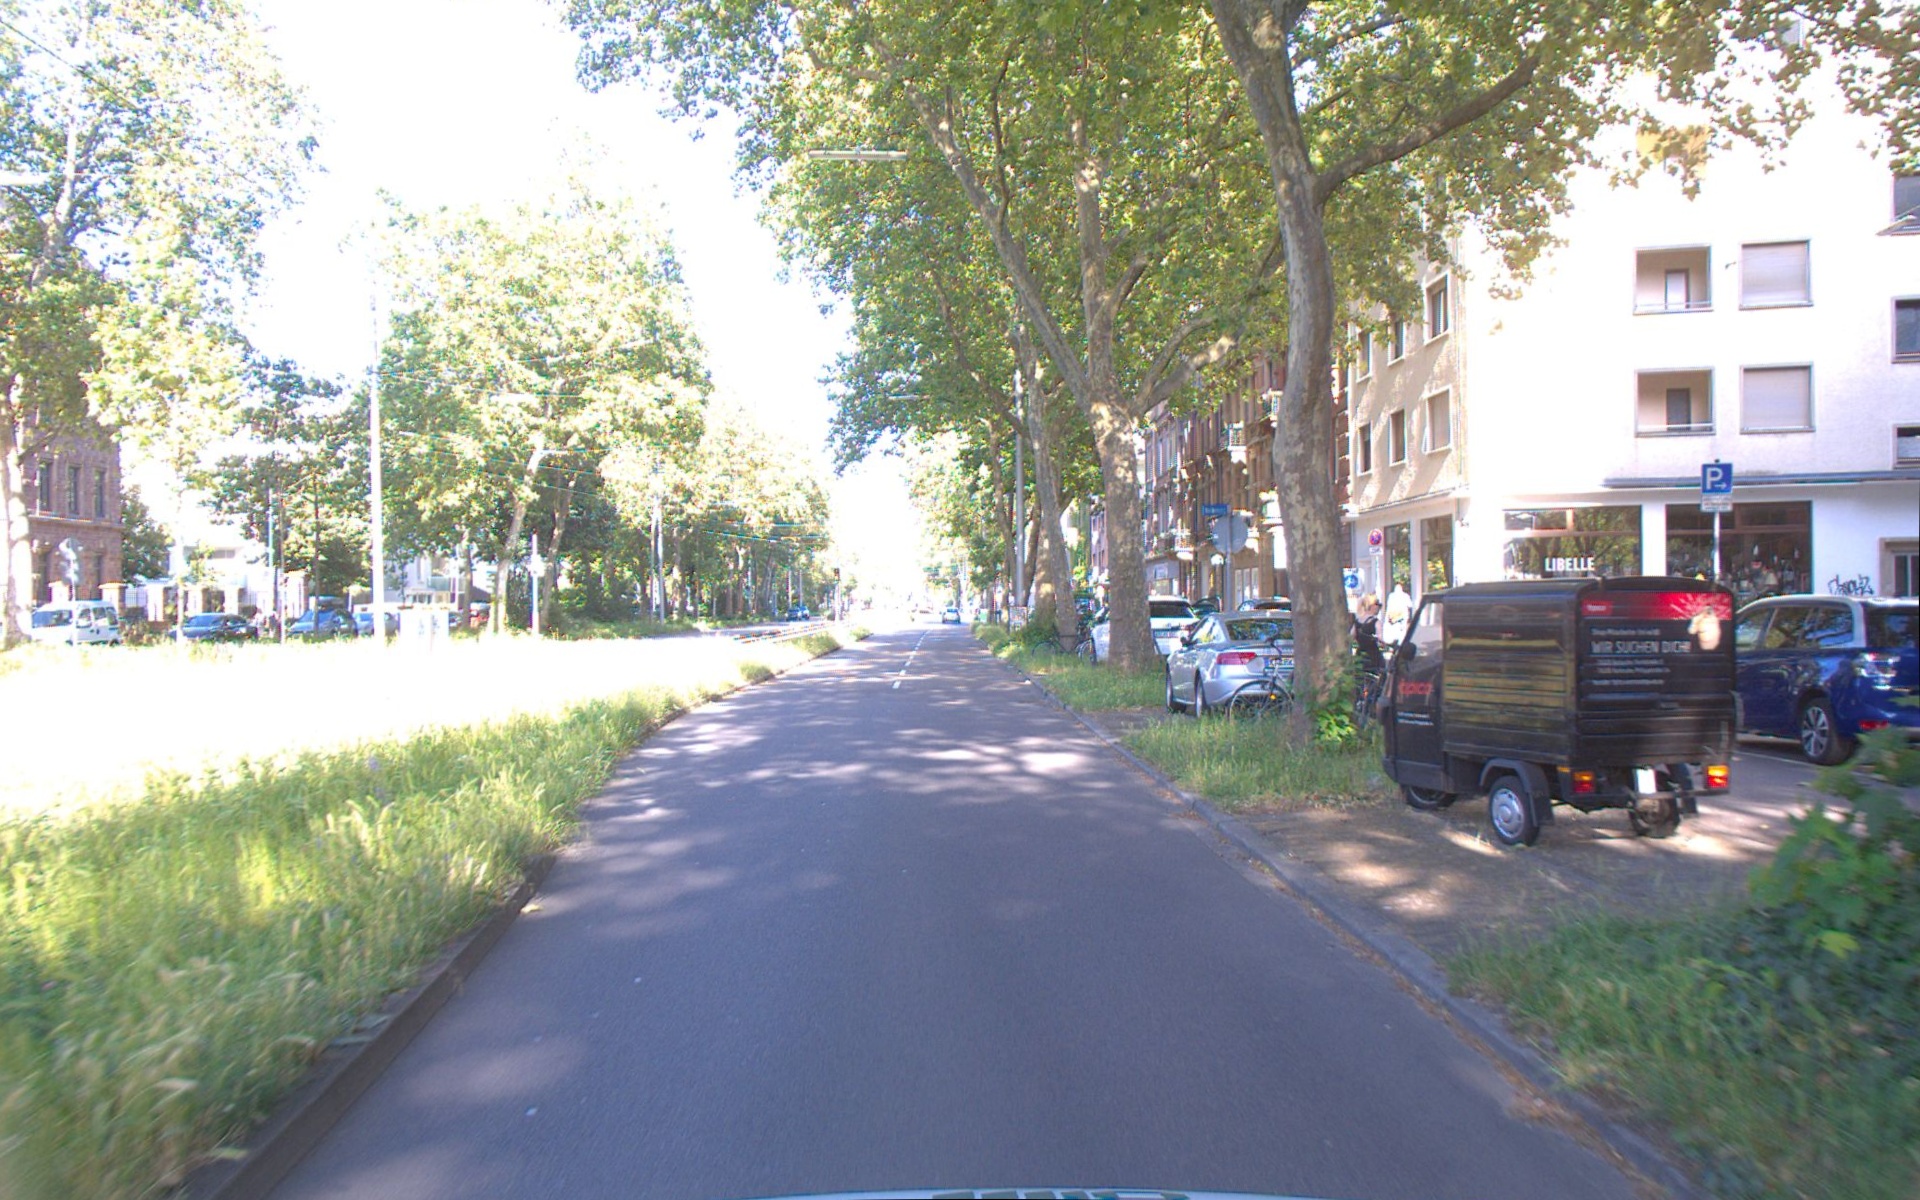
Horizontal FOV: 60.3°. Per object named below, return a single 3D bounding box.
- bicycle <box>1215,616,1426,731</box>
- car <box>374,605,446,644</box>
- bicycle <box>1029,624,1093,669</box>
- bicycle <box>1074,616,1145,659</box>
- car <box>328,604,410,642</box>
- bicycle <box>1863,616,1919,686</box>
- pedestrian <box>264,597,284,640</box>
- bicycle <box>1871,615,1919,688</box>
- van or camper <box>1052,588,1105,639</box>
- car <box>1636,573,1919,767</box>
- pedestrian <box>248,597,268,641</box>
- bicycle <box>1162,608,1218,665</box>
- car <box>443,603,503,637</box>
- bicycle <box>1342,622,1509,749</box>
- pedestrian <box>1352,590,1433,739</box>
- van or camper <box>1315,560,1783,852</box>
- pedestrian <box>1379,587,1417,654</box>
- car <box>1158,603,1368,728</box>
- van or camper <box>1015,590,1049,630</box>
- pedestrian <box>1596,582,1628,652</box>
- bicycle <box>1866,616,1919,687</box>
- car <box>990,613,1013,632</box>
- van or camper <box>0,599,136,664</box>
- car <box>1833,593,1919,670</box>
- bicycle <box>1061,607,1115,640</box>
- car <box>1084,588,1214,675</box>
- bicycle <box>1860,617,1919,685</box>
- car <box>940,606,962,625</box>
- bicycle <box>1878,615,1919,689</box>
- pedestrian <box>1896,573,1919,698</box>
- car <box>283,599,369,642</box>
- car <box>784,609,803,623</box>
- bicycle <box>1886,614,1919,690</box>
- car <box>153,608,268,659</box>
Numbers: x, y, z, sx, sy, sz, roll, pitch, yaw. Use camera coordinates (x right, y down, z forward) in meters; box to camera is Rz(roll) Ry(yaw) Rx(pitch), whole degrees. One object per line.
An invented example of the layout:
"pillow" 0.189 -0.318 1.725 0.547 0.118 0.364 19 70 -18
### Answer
"bicycle" 3.707 0.748 17.085 2.028 1.144 0.676 0 -1 -2
"car" -26.886 1.164 81.032 2.066 1.840 4.736 -1 0 -2
"bicycle" 2.499 1.142 40.813 1.560 1.077 0.404 0 -1 6
"bicycle" 3.469 0.856 38.358 1.749 0.944 0.644 0 -1 -42
"car" -26.908 1.038 75.456 1.952 1.643 4.422 -1 0 3
"bicycle" 15.832 0.817 26.767 2.095 1.123 0.508 -1 -1 24
"pedestrian" -32.538 0.870 78.475 0.700 2.049 0.626 -1 0 0
"bicycle" 15.392 0.794 25.726 2.095 1.123 0.508 -1 -1 24
"van or camper" 5.276 0.588 74.318 1.797 2.134 4.772 2 -1 -2
"car" 9.241 0.652 17.754 1.782 1.772 5.166 0 0 -1
"pedestrian" -33.297 0.892 78.466 0.700 2.049 0.626 -1 0 0
"bicycle" 3.929 0.604 28.364 0.626 0.941 2.164 0 0 -1
"car" -27.127 1.103 92.243 2.066 1.840 4.736 -1 0 -2
"bicycle" 4.287 0.755 15.396 0.744 1.097 1.882 0 -1 -10
"pedestrian" 4.919 0.722 18.836 0.673 1.639 0.712 2 0 -1
"van or camper" 3.671 0.592 10.754 1.477 1.616 2.826 0 0 -18
"pedestrian" 11.586 0.542 43.781 0.779 1.734 0.724 -1 0 -1
"car" 3.738 0.756 21.302 1.718 1.422 5.025 0 0 -1
"van or camper" 4.826 0.680 111.997 2.138 2.524 6.269 2 -1 2
"pedestrian" 15.816 0.402 40.132 0.579 1.679 0.725 0 -1 10
"bicycle" 15.609 0.809 26.251 2.095 1.123 0.508 -1 -1 24
"car" 3.487 1.908 139.669 1.649 1.540 3.665 0 0 -3
"van or camper" -26.460 0.905 49.078 1.954 1.819 4.430 -1 0 -3
"car" 21.273 0.646 35.125 4.488 1.608 2.002 0 0 14
"bicycle" 5.287 0.975 68.342 2.120 1.317 0.983 1 -1 -1
"car" 3.824 0.608 34.211 1.865 1.665 4.820 0 0 -3
"bicycle" 16.046 0.836 27.246 2.095 1.123 0.472 -1 -1 24
"car" -0.861 1.430 154.730 1.980 1.691 3.999 0 0 -1
"bicycle" 15.141 0.785 25.050 2.095 1.123 0.508 -1 -1 24
"pedestrian" 13.275 0.471 22.447 0.665 1.680 0.906 0 0 6
"car" -26.766 0.855 69.967 1.731 1.749 4.422 -1 0 3
"car" -19.461 1.863 193.518 1.759 1.534 4.338 -3 -1 0
"bicycle" 14.942 0.771 24.445 2.145 1.123 0.508 -1 -1 24
"car" -26.788 1.170 59.309 1.953 1.678 4.826 0 0 0
